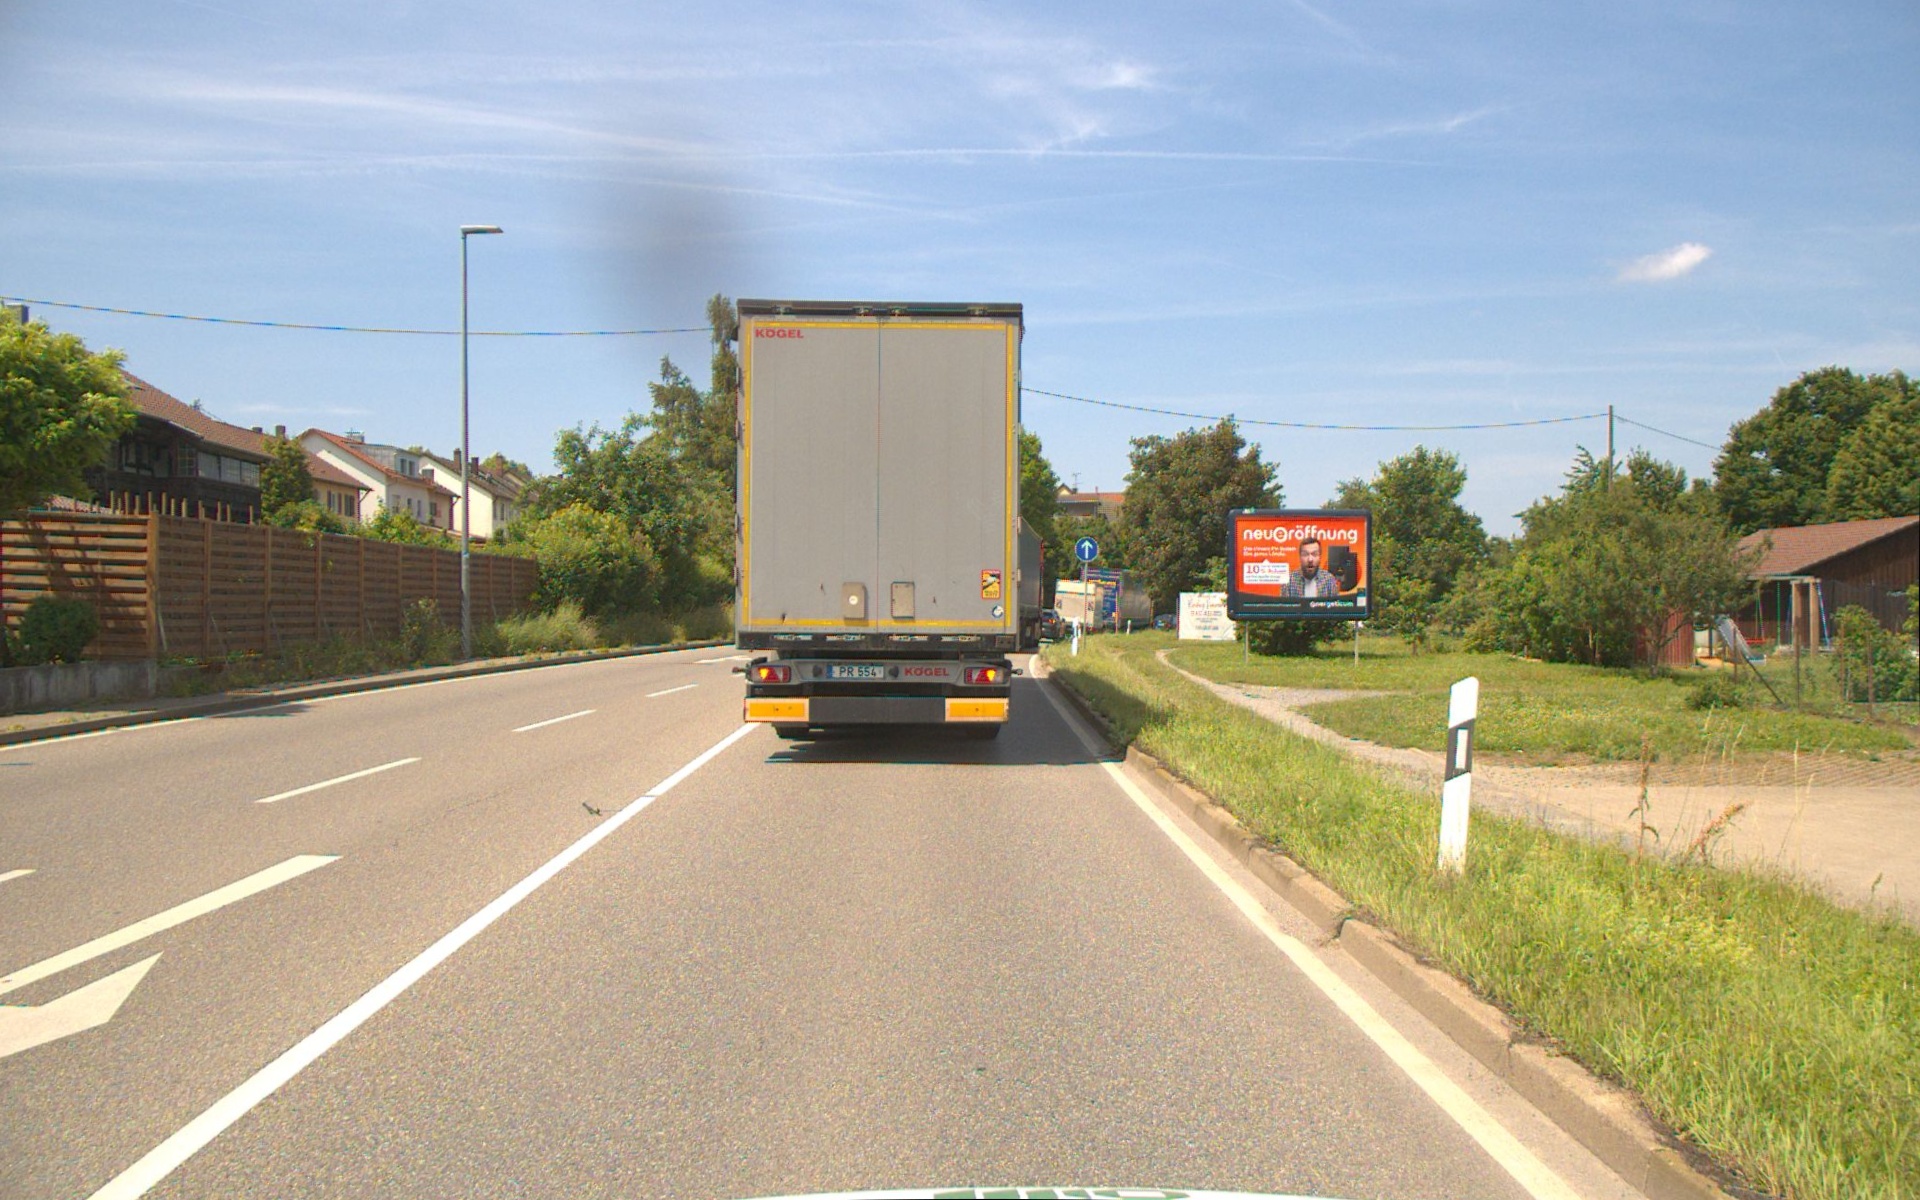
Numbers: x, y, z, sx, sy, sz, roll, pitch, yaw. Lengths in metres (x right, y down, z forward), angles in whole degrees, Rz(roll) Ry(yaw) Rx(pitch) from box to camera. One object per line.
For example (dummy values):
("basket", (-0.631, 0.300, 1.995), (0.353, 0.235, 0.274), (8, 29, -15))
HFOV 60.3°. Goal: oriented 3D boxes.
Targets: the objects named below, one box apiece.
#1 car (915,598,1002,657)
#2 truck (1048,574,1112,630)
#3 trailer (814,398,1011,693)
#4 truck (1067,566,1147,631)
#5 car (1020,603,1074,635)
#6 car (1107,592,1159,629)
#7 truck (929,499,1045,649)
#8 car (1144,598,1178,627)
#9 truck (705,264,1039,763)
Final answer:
("car", (0.011, 0.686, 41.757), (1.780, 1.370, 3.850), (1, -1, 6))
("truck", (6.441, 0.158, 88.191), (2.489, 2.852, 6.036), (1, -1, 13))
("trailer", (-0.682, -0.794, 26.990), (2.767, 4.183, 6.544), (1, 0, 0))
("truck", (8.959, -0.101, 99.766), (3.360, 3.667, 9.361), (1, 0, 14))
("car", (4.042, 0.897, 76.329), (1.951, 1.400, 4.003), (1, -1, 11))
("car", (11.420, 0.673, 108.996), (2.478, 2.317, 6.386), (1, 0, 14))
("truck", (1.203, -0.650, 56.646), (2.702, 4.364, 16.424), (1, -1, 5))
("car", (14.851, 0.947, 121.845), (1.951, 2.049, 4.003), (1, -1, 14))
("truck", (-0.715, -0.766, 19.820), (2.764, 4.200, 11.443), (1, 0, 0))
